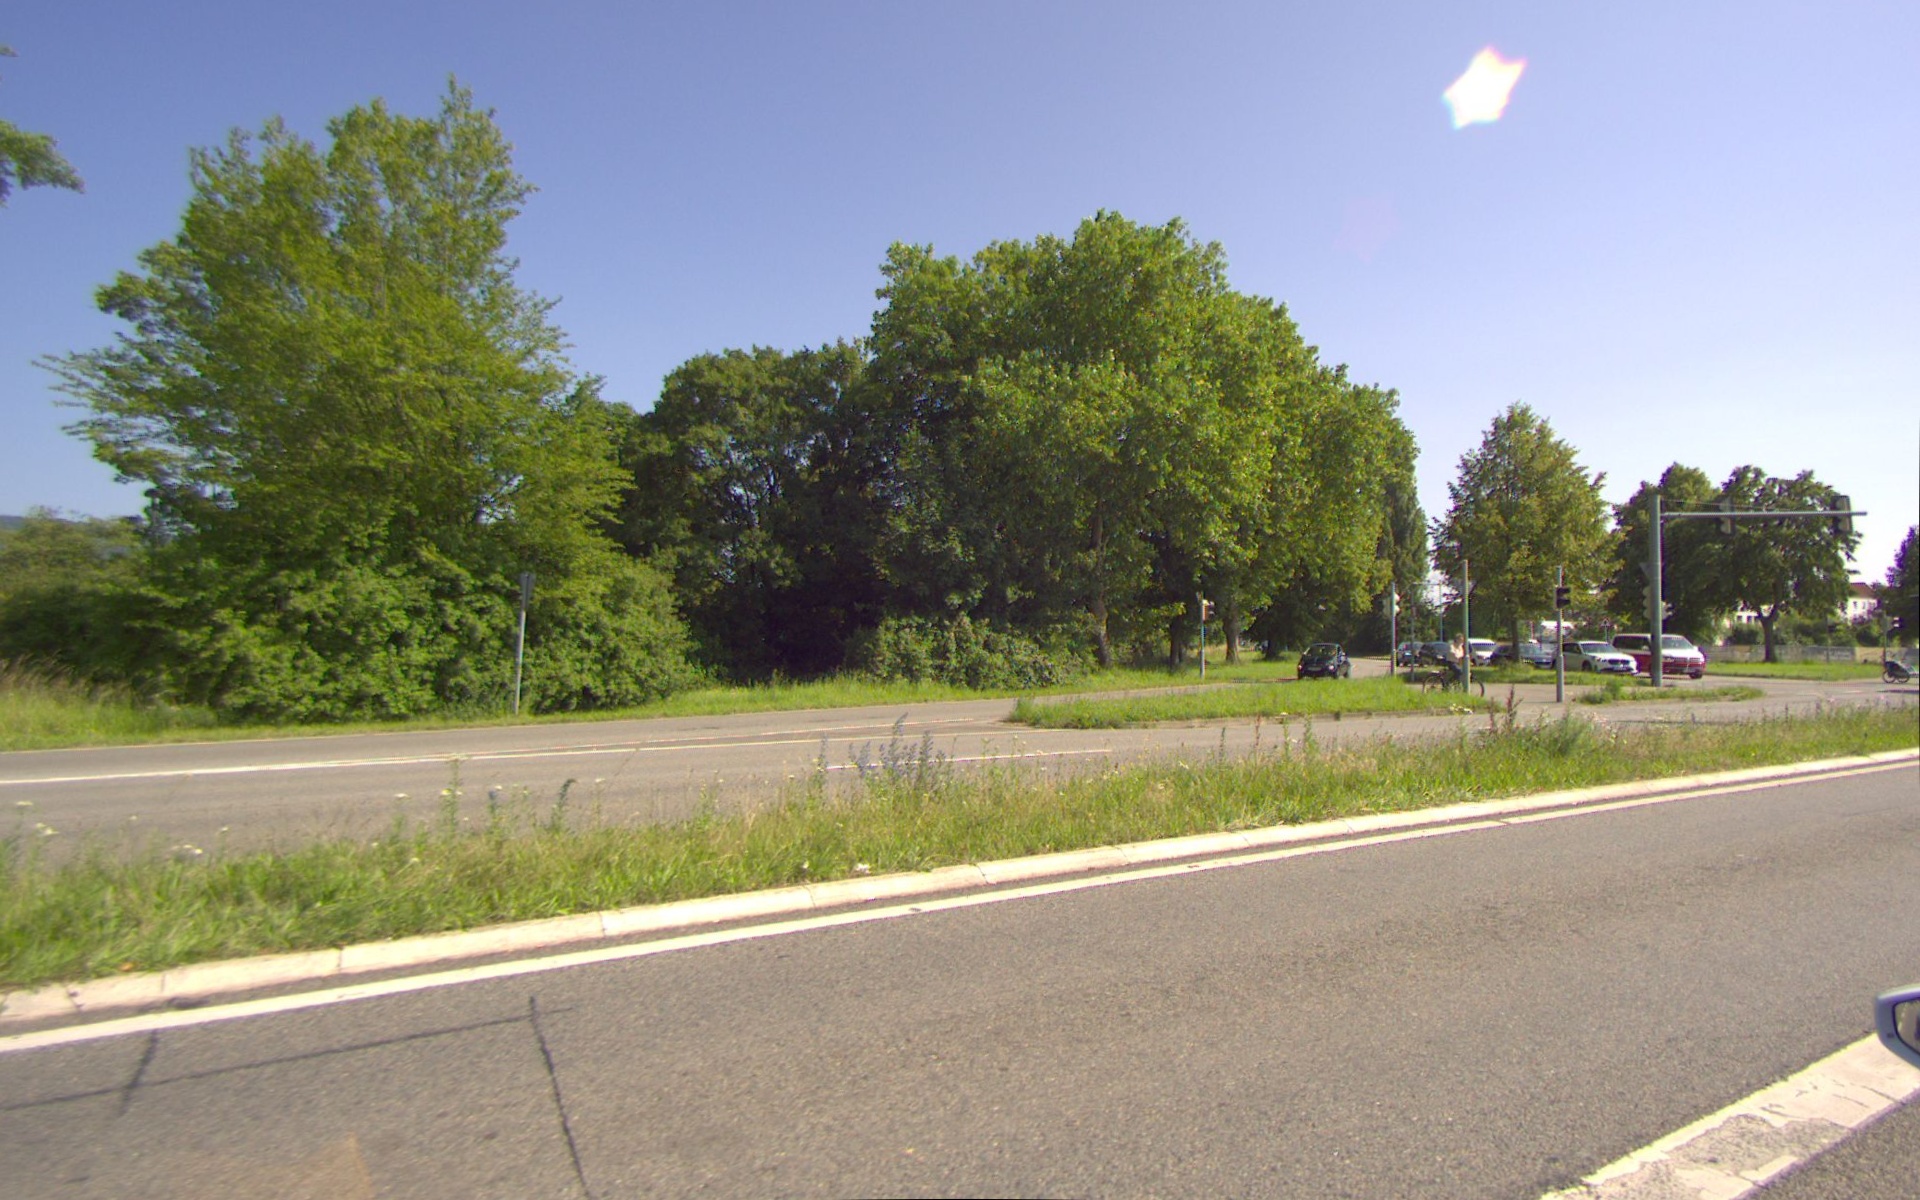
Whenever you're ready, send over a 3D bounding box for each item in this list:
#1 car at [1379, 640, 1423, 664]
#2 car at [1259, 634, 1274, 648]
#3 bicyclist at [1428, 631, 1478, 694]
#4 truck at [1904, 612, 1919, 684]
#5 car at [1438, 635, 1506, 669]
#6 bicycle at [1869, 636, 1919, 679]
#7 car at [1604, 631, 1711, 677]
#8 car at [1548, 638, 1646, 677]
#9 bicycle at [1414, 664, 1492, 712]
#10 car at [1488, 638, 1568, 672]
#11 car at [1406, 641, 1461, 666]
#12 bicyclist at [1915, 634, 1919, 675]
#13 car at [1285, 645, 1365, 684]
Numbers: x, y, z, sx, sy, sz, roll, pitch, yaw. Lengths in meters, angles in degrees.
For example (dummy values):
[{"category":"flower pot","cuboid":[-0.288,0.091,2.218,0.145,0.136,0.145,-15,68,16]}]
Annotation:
[{"category":"car","cuboid":[30.472,3.560,69.549,1.964,1.627,4.271,0,-2,13]},{"category":"car","cuboid":[41.776,5.528,137.033,1.741,1.773,4.101,1,-1,15]},{"category":"bicyclist","cuboid":[12.272,1.540,25.006,0.737,1.538,0.844,1,-1,-24]},{"category":"truck","cuboid":[32.715,1.545,31.309,2.334,2.420,6.043,0,-2,17]},{"category":"car","cuboid":[29.298,2.961,57.654,1.964,1.824,4.511,0,-2,6]},{"category":"bicycle","cuboid":[38.379,2.304,40.360,1.114,1.692,2.801,0,-2,-2]},{"category":"car","cuboid":[31.376,2.405,45.363,1.959,1.975,4.659,0,-2,6]},{"category":"car","cuboid":[28.035,2.493,44.396,1.964,1.627,4.271,0,-2,6]},{"category":"bicycle","cuboid":[12.258,2.178,25.023,0.737,1.055,1.672,1,-1,-24]},{"category":"car","cuboid":[28.694,2.752,50.874,1.964,1.627,4.271,0,-2,6]},{"category":"car","cuboid":[29.861,3.330,63.445,1.881,1.532,4.129,0,-2,6]},{"category":"bicyclist","cuboid":[38.369,2.157,39.513,0.743,1.640,0.865,1,-1,-2]},{"category":"car","cuboid":[15.340,2.681,42.081,1.968,1.514,4.269,-2,-4,37]}]
